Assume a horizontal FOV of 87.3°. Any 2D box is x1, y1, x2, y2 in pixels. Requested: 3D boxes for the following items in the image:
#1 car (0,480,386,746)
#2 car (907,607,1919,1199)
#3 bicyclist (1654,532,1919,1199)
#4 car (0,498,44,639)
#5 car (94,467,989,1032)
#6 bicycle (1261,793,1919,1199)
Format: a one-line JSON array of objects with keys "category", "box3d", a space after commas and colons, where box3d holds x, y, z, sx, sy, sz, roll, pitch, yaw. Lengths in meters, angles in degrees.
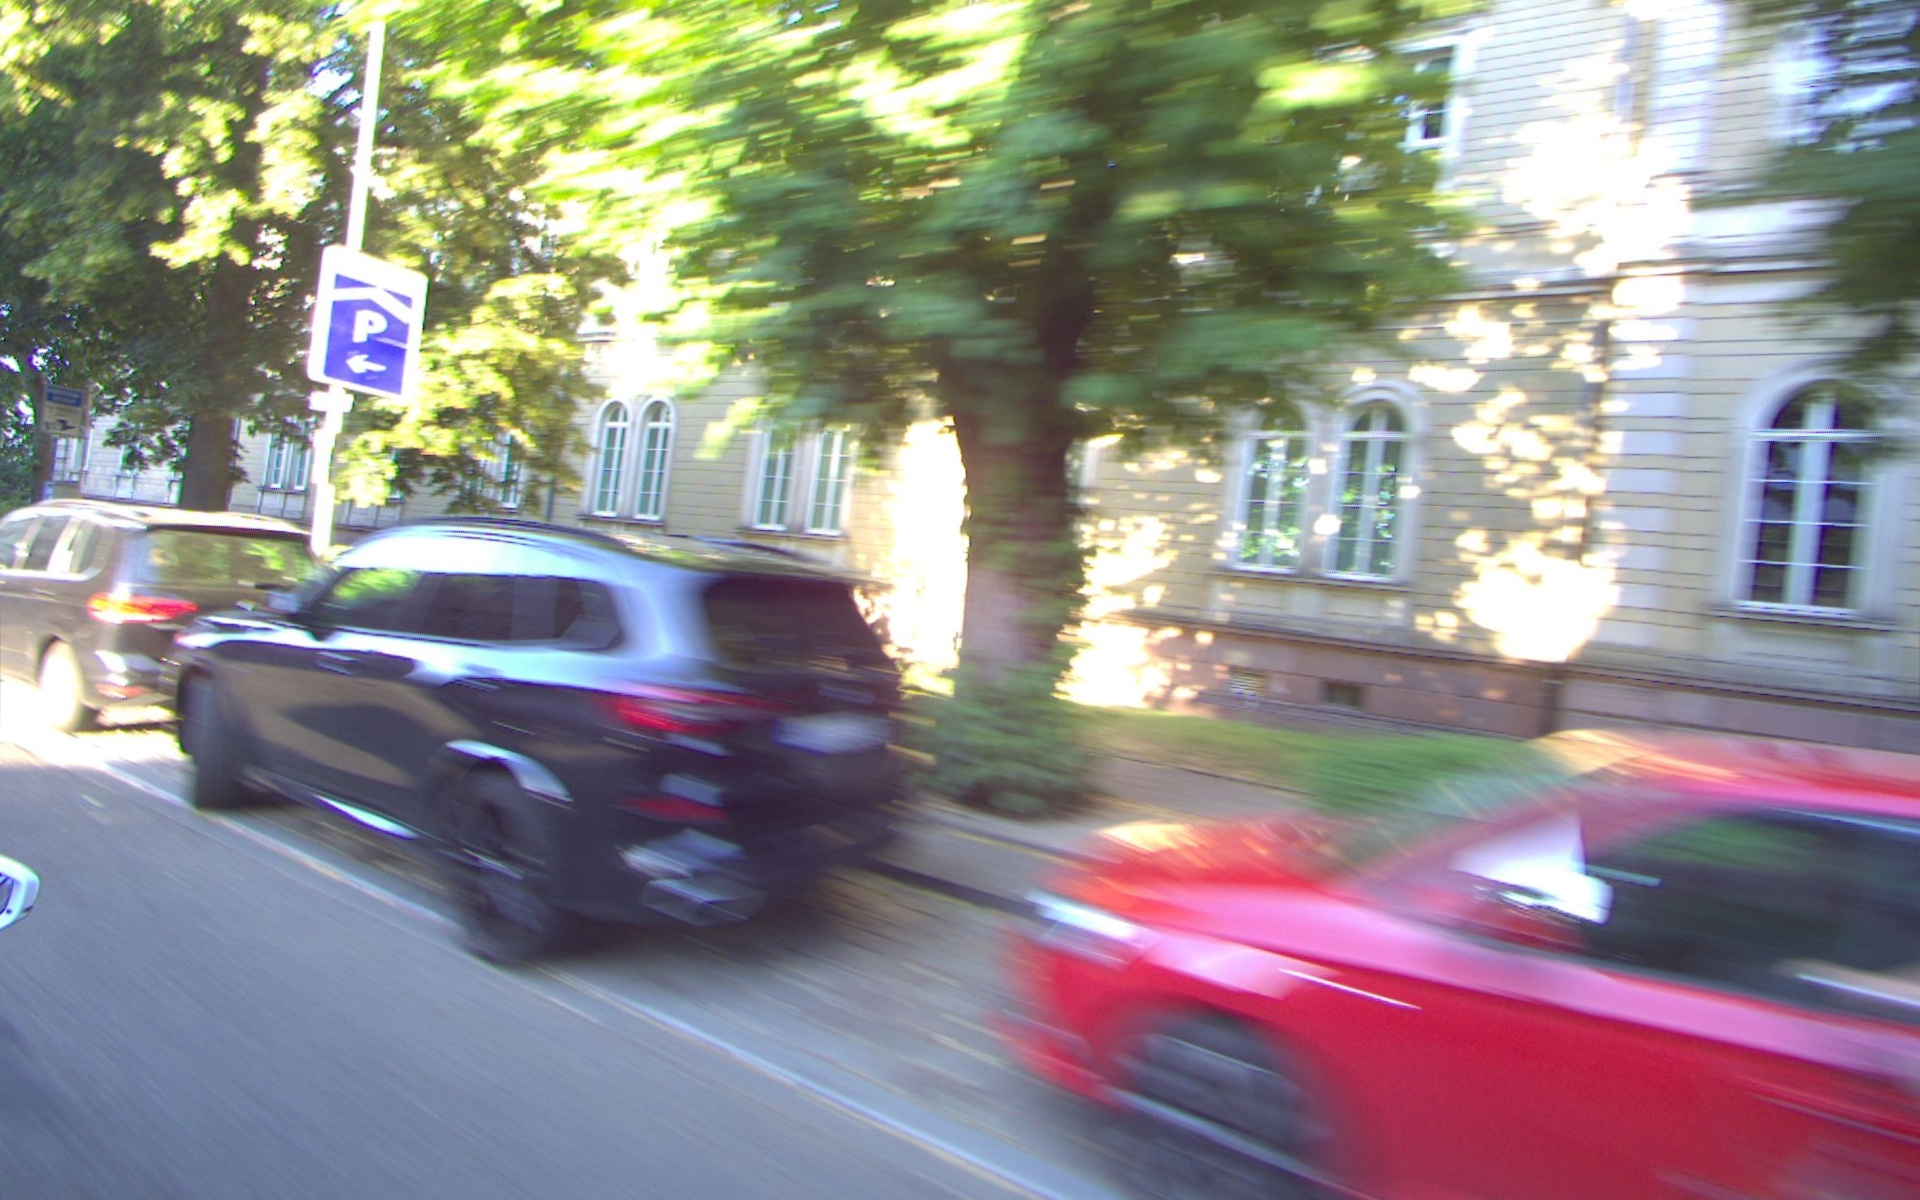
[{"category": "car", "box3d": [-7.005, 0.001, 8.457, 4.425, 1.702, 1.727, 6, -2, 31]}, {"category": "car", "box3d": [2.028, 1.060, 2.855, 3.902, 1.607, 1.728, 6, -2, 29]}, {"category": "bicyclist", "box3d": [1.622, 0.811, 1.325, 1.020, 1.632, 0.753, 7, 0, 29]}, {"category": "car", "box3d": [-12.900, -0.583, 11.911, 4.546, 1.552, 1.727, 5, -2, 31]}, {"category": "car", "box3d": [-2.473, 0.402, 5.395, 4.866, 1.835, 1.807, 5, -2, 32]}, {"category": "bicycle", "box3d": [1.576, 1.135, 1.354, 2.172, 1.268, 0.753, 7, 0, 29]}]
